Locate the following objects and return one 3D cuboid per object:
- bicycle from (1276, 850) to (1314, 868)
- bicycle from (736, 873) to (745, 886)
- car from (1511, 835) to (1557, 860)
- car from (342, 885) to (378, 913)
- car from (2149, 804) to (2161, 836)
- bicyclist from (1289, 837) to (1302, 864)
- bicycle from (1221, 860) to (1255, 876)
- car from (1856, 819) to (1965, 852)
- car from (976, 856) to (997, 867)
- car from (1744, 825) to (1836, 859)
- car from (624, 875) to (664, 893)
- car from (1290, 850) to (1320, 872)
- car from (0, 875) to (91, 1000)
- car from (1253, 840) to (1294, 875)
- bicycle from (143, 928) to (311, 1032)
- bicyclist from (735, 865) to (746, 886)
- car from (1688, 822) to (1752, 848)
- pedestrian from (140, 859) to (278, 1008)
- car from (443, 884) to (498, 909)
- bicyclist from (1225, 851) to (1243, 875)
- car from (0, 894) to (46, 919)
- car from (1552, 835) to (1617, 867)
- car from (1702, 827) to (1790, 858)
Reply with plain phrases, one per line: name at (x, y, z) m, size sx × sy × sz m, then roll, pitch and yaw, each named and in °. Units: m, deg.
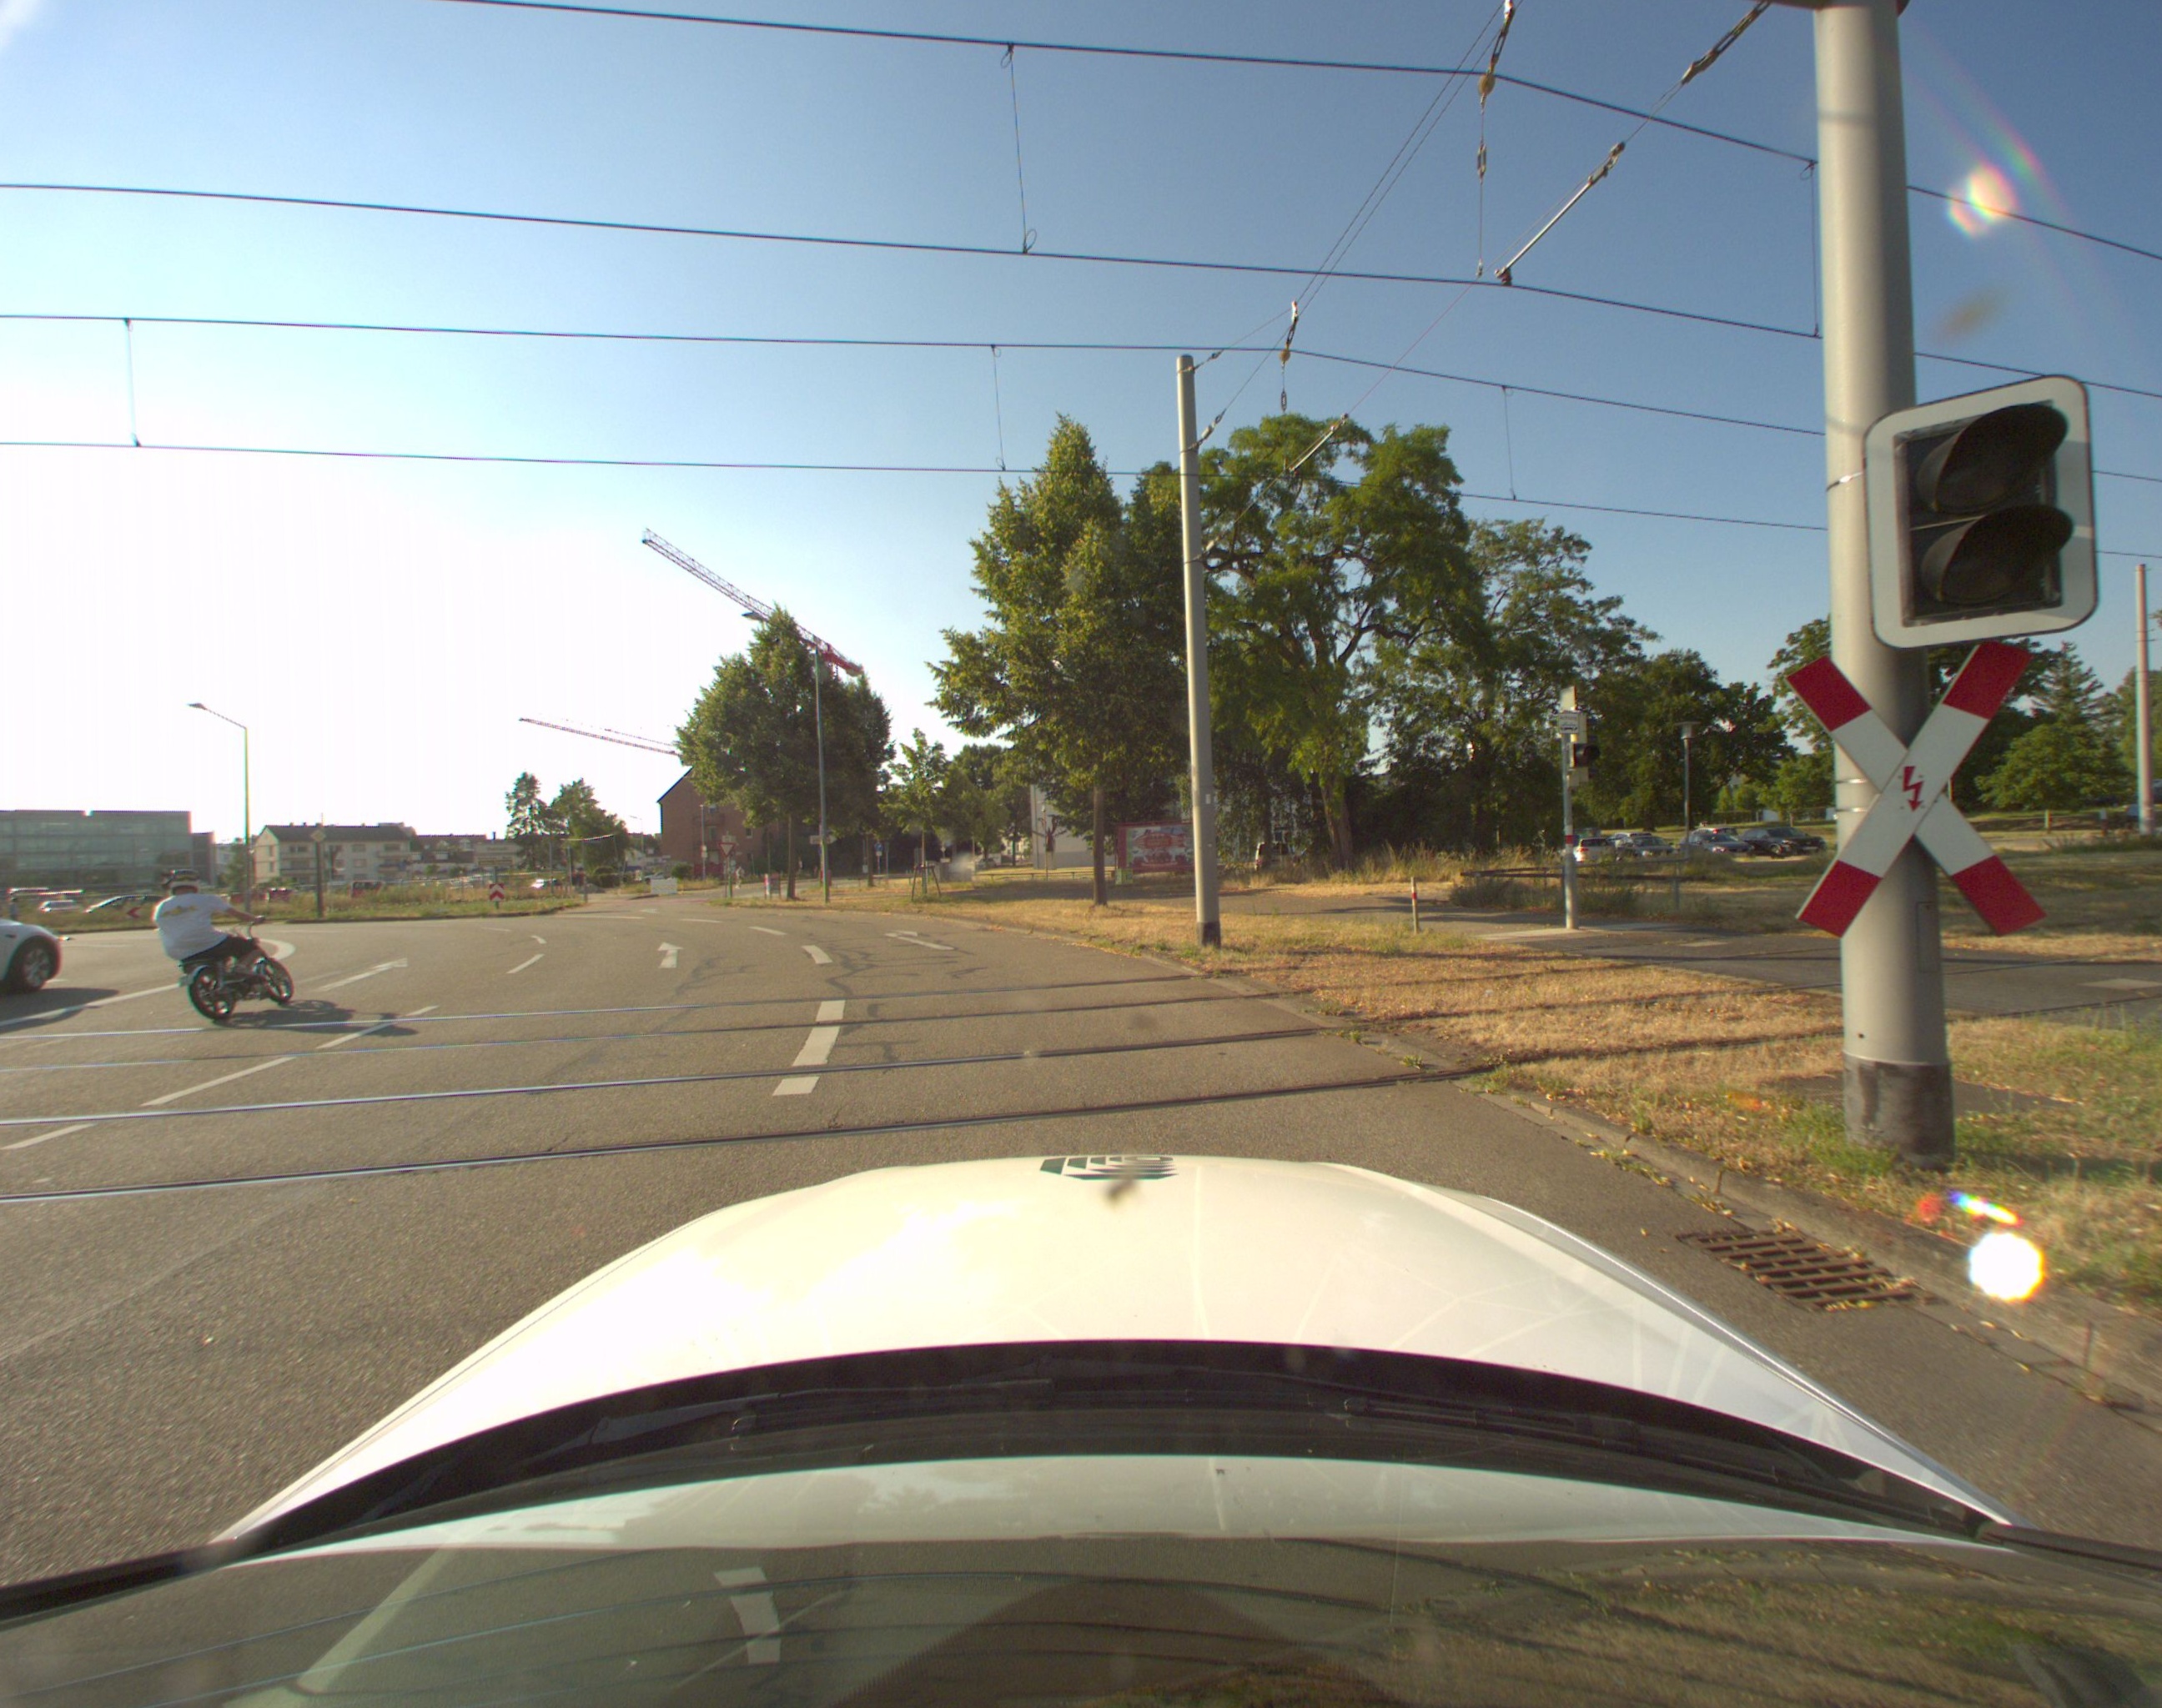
bicycle at (12.235, 0.298, 46.586) m, size 1.977 × 0.918 × 0.431 m, roll -3°, pitch 0°, yaw 6°
bicycle at (-26.566, 2.009, 63.517) m, size 0.599 × 0.963 × 2.089 m, roll -2°, pitch 0°, yaw -24°
car at (27.918, -0.381, 50.256) m, size 1.589 × 1.402 × 3.986 m, roll -3°, pitch 0°, yaw 16°
car at (-54.565, 3.377, 61.689) m, size 1.936 × 1.854 × 3.952 m, roll -3°, pitch 0°, yaw -41°
car at (48.172, -1.539, 34.194) m, size 1.809 × 1.403 × 4.013 m, roll -3°, pitch 0°, yaw 12°
bicyclist at (12.244, -0.177, 46.572) m, size 0.619 × 1.511 × 0.419 m, roll -3°, pitch 0°, yaw 6°
bicycle at (9.248, 0.824, 47.894) m, size 1.993 × 0.825 × 0.427 m, roll -3°, pitch 0°, yaw -18°
car at (36.404, -0.781, 35.866) m, size 1.589 × 1.310 × 3.986 m, roll -3°, pitch 0°, yaw 16°
car at (-12.865, 1.009, 111.324) m, size 1.571 × 1.442 × 3.568 m, roll -3°, pitch 0°, yaw 16°
car at (32.084, -0.531, 37.002) m, size 1.589 × 1.402 × 3.986 m, roll -3°, pitch 0°, yaw 16°
car at (-51.417, 3.520, 95.778) m, size 3.789 × 2.013 × 1.675 m, roll -3°, pitch -1°, yaw 6°
car at (13.278, 0.368, 48.066) m, size 1.589 × 1.181 × 3.986 m, roll -3°, pitch 0°, yaw 16°
car at (-14.674, 1.115, 9.555) m, size 1.741 × 1.599 × 4.645 m, roll -1°, pitch 0°, yaw -20°
car at (9.853, 0.161, 41.478) m, size 1.757 × 1.618 × 3.986 m, roll -3°, pitch 0°, yaw 16°
bicycle at (-9.472, 1.353, 9.130) m, size 0.479 × 0.876 × 1.844 m, roll -2°, pitch 0°, yaw -19°
bicyclist at (-26.647, 1.699, 63.738) m, size 0.661 × 1.562 × 0.887 m, roll -2°, pitch -1°, yaw -24°
car at (38.274, -1.121, 48.897) m, size 1.589 × 1.402 × 3.986 m, roll -3°, pitch 0°, yaw 16°
pedestrian at (-9.518, 0.826, 8.928) m, size 0.658 × 1.519 × 0.848 m, roll -3°, pitch 0°, yaw -20°
car at (-55.477, 3.862, 74.027) m, size 3.789 × 2.013 × 1.675 m, roll -3°, pitch -1°, yaw 6°
bicyclist at (8.983, 0.522, 47.814) m, size 0.900 × 1.396 × 0.523 m, roll -3°, pitch 0°, yaw -18°
car at (-95.172, 4.704, 72.887) m, size 3.952 × 2.013 × 2.011 m, roll -2°, pitch 0°, yaw 22°
car at (24.201, -0.140, 39.278) m, size 1.589 × 1.402 × 3.986 m, roll -3°, pitch 0°, yaw 16°
car at (29.708, -0.493, 36.515) m, size 1.589 × 1.221 × 3.986 m, roll -3°, pitch 0°, yaw 16°
